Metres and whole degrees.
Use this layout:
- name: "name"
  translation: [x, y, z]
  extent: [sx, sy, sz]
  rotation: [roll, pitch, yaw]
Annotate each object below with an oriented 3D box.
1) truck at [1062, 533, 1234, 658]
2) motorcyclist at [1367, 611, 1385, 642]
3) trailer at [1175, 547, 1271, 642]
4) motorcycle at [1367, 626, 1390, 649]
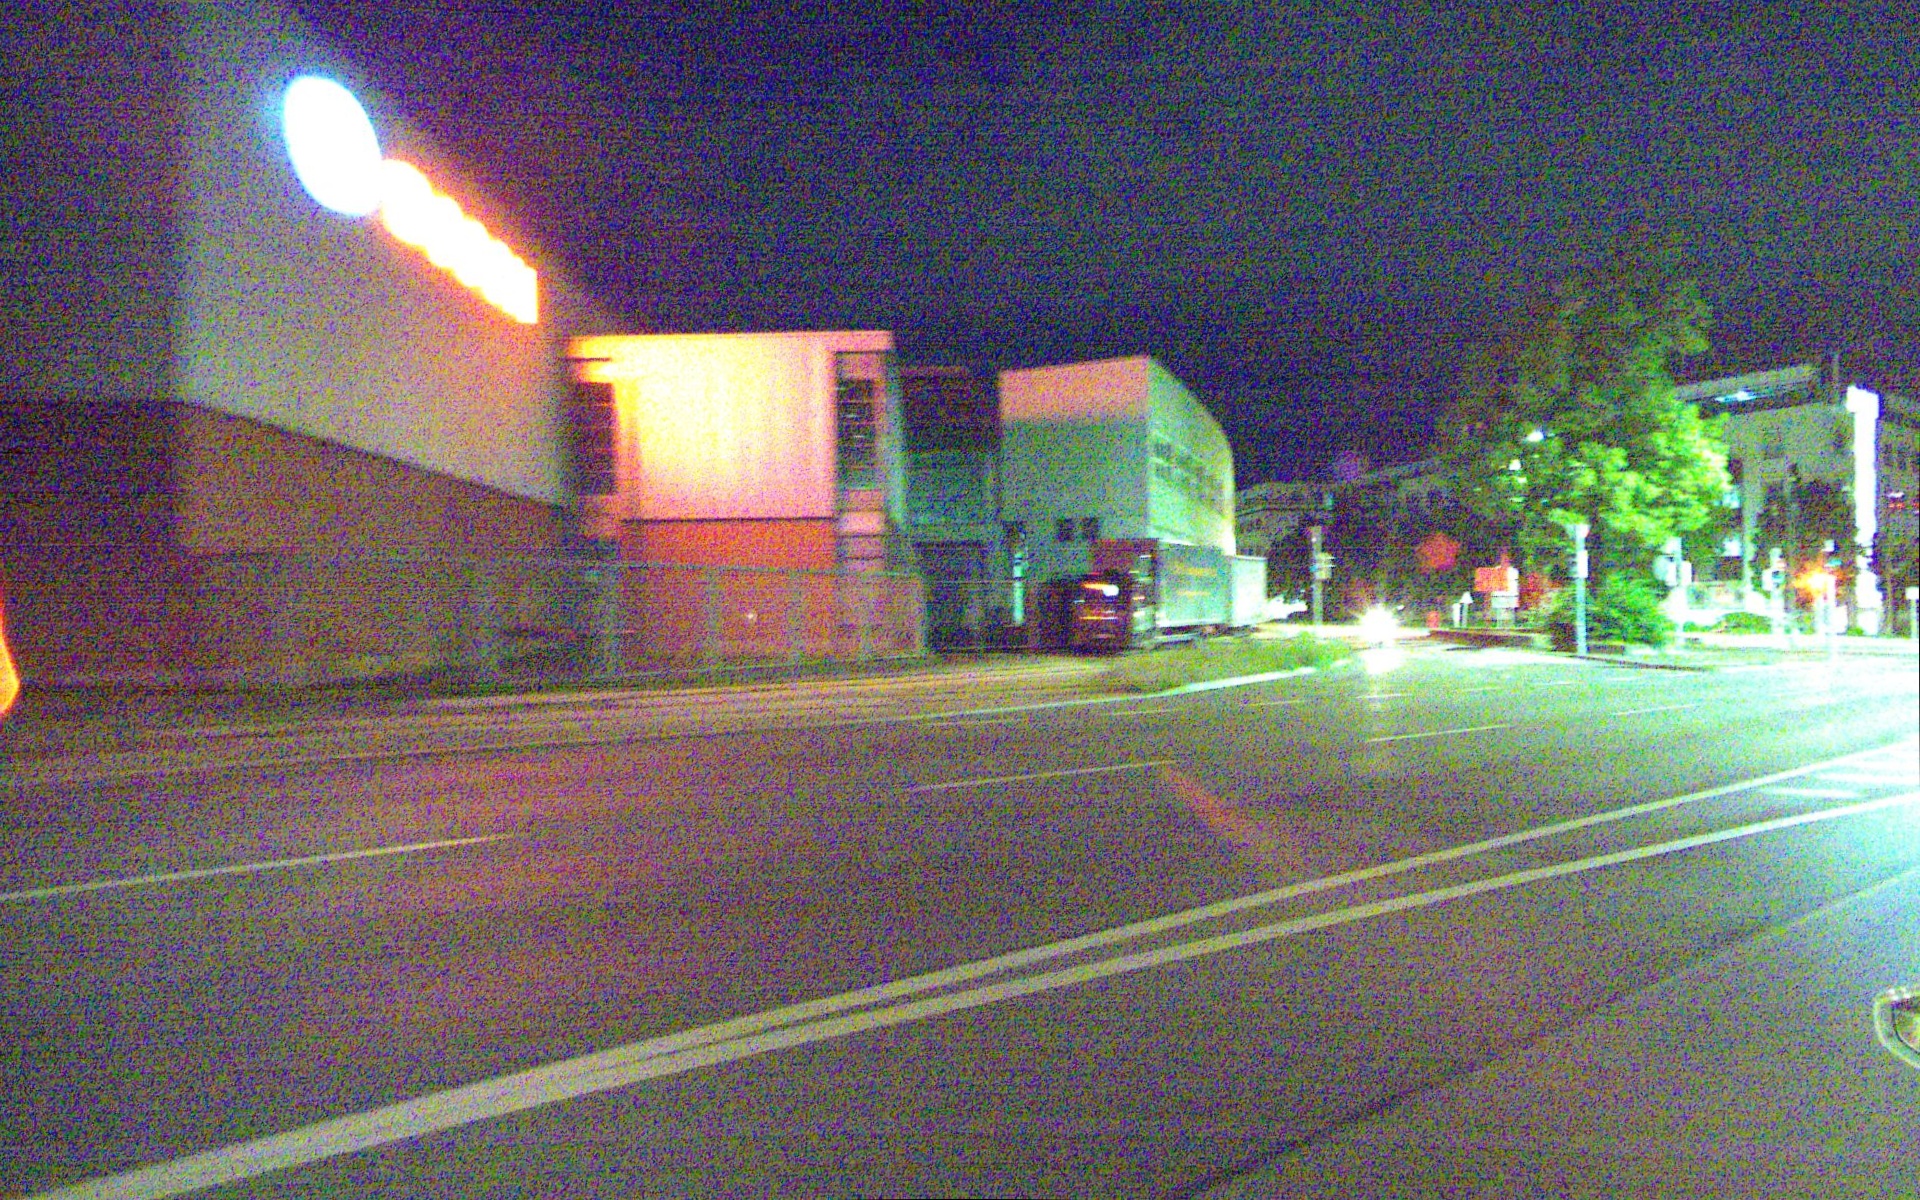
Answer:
- name: "truck"
  translation: [6.959, -0.046, 35.637]
  extent: [2.895, 3.847, 9.539]
  rotation: [0, -1, 30]
- name: "motorcyclist"
  translation: [17.511, 1.114, 42.296]
  extent: [0.635, 1.278, 0.579]
  rotation: [1, -1, 15]
- name: "trailer"
  translation: [11.683, -0.147, 44.162]
  extent: [2.574, 3.841, 6.504]
  rotation: [1, -1, 28]
- name: "motorcycle"
  translation: [17.640, 1.567, 42.400]
  extent: [0.568, 0.908, 2.157]
  rotation: [-2, -2, 14]
